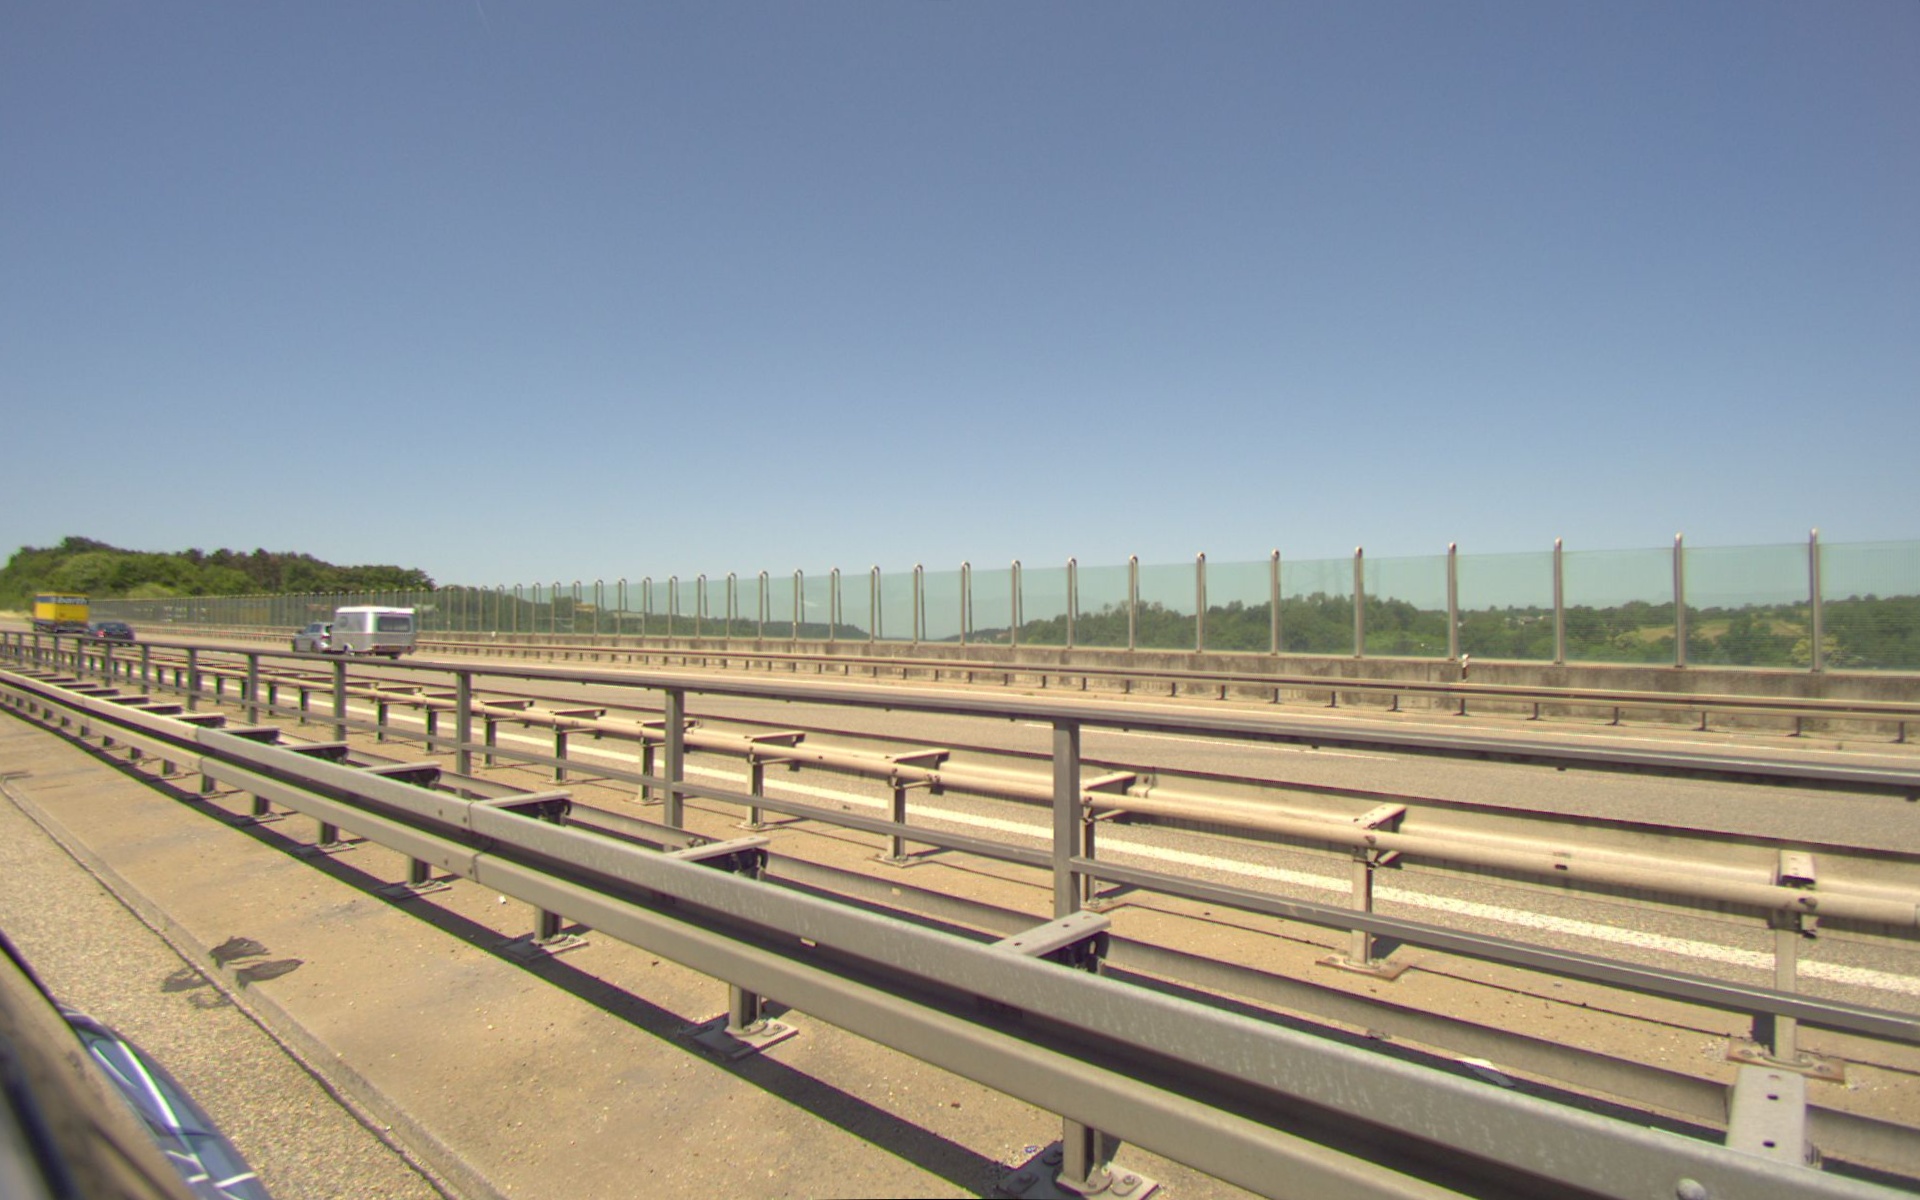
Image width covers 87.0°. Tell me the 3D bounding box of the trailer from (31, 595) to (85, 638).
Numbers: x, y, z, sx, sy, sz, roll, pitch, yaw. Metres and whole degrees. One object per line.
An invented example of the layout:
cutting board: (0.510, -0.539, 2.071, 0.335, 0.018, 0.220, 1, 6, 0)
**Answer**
trailer: (-90.327, 1.704, 101.247, 13.796, 4.094, 2.397, -1, -3, 42)

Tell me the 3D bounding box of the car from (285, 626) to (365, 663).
car: (-28.941, 2.002, 46.081, 4.198, 1.557, 1.837, 0, -3, 40)

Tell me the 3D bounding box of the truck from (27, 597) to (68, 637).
truck: (-95.477, 1.762, 105.844, 5.540, 4.089, 2.389, 0, -3, 41)

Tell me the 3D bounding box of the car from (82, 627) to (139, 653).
car: (-48.914, 2.294, 58.236, 4.673, 1.408, 1.836, -1, -3, 41)

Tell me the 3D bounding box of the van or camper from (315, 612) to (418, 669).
van or camper: (-25.199, 1.681, 42.907, 5.533, 2.228, 1.973, 0, -3, 40)
